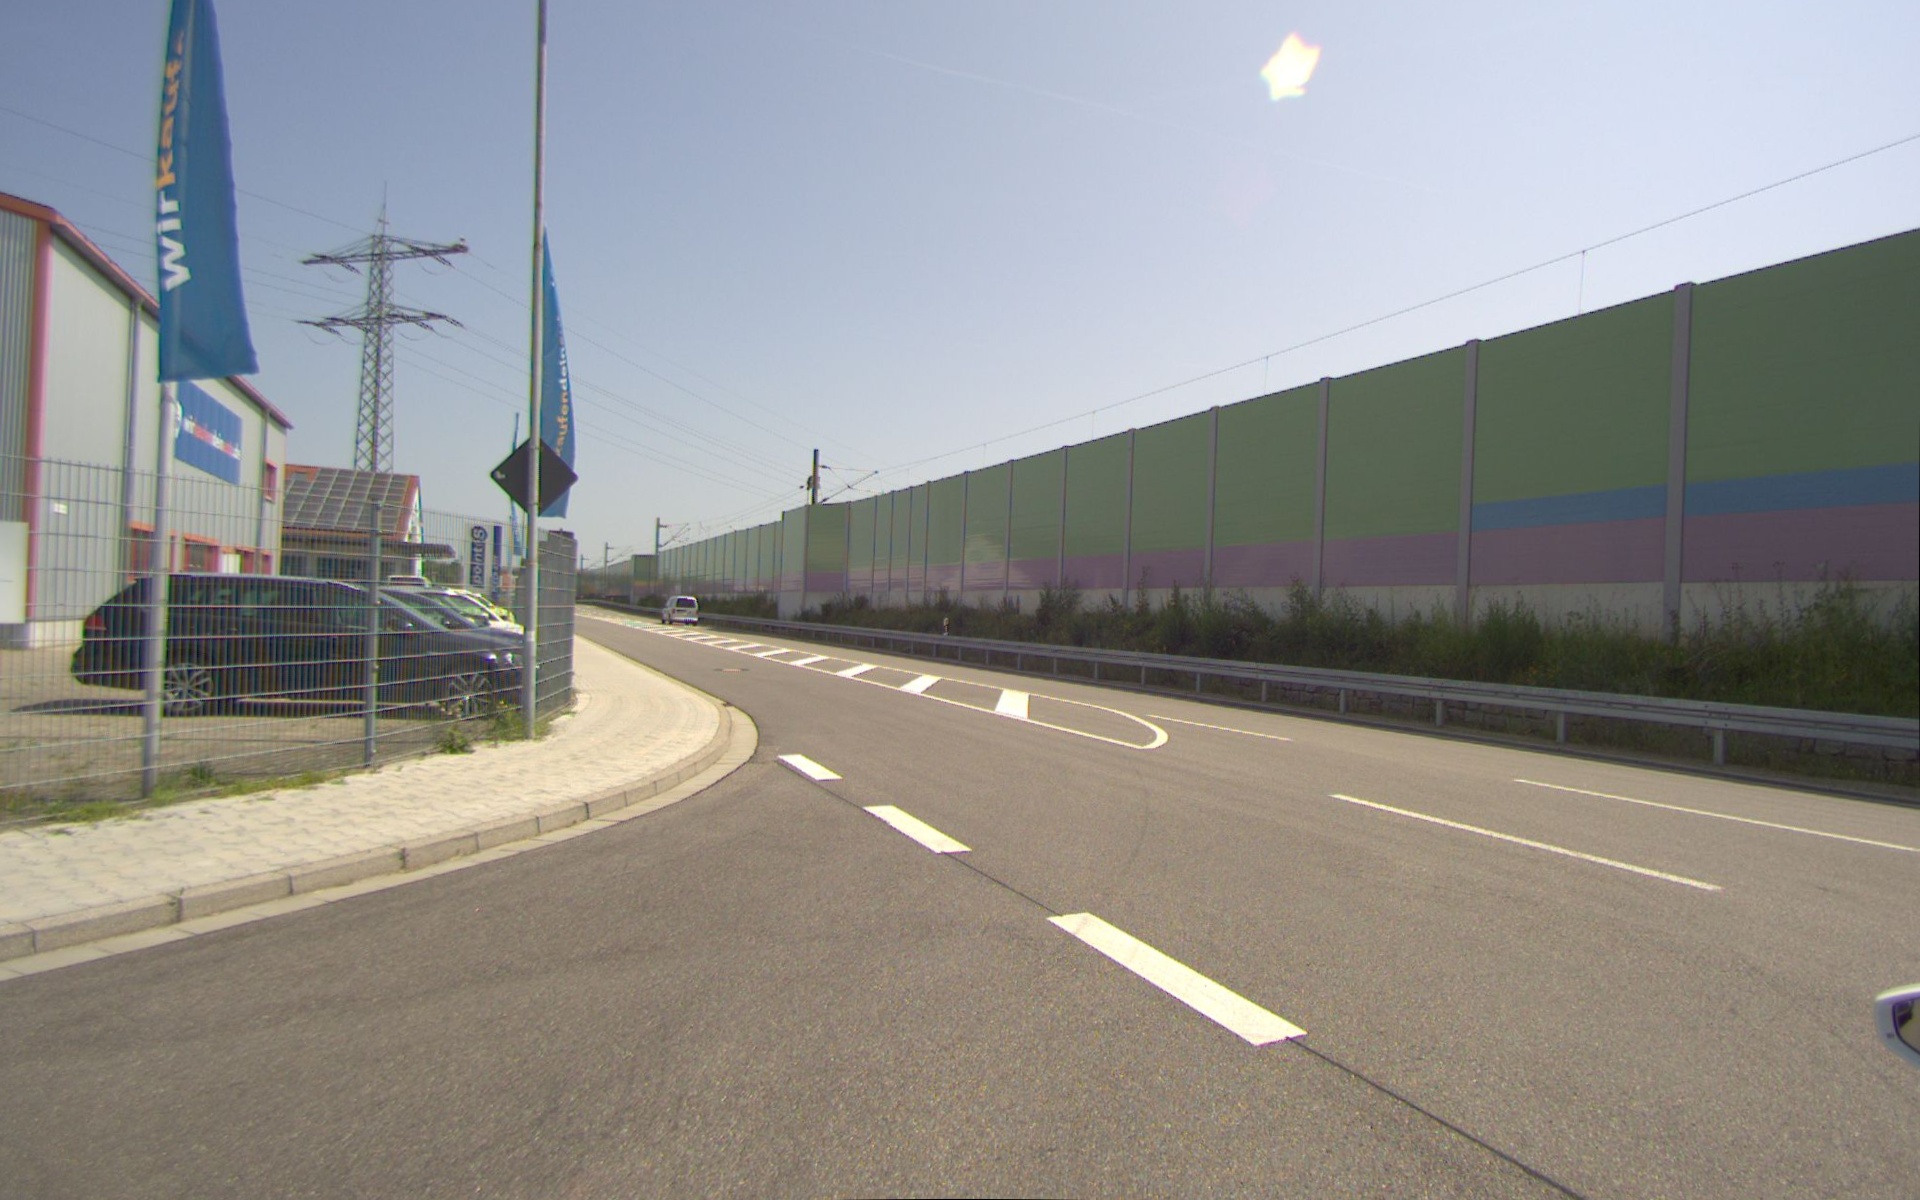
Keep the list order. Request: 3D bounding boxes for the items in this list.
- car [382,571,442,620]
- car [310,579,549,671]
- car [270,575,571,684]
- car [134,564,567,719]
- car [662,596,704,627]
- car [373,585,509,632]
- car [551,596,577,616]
[{"bbox_3d":[-24.781,-0.167,45.556,1.973,2.040,4.652,2,-1,-24],"label":"car"},{"bbox_3d":[-9.542,0.471,18.267,1.566,1.484,3.472,2,-1,39],"label":"car"},{"bbox_3d":[-8.397,0.468,15.810,3.957,1.522,1.759,2,0,-33],"label":"car"},{"bbox_3d":[-6.773,0.466,11.600,3.952,1.522,1.761,2,0,-29],"label":"car"},{"bbox_3d":[-17.637,0.711,63.956,1.972,1.780,3.977,3,-1,-24],"label":"car"},{"bbox_3d":[-18.724,0.354,36.441,1.712,1.513,4.087,2,-1,29],"label":"car"},{"bbox_3d":[-33.616,0.481,85.170,1.724,1.615,3.771,2,-1,-25],"label":"car"}]
